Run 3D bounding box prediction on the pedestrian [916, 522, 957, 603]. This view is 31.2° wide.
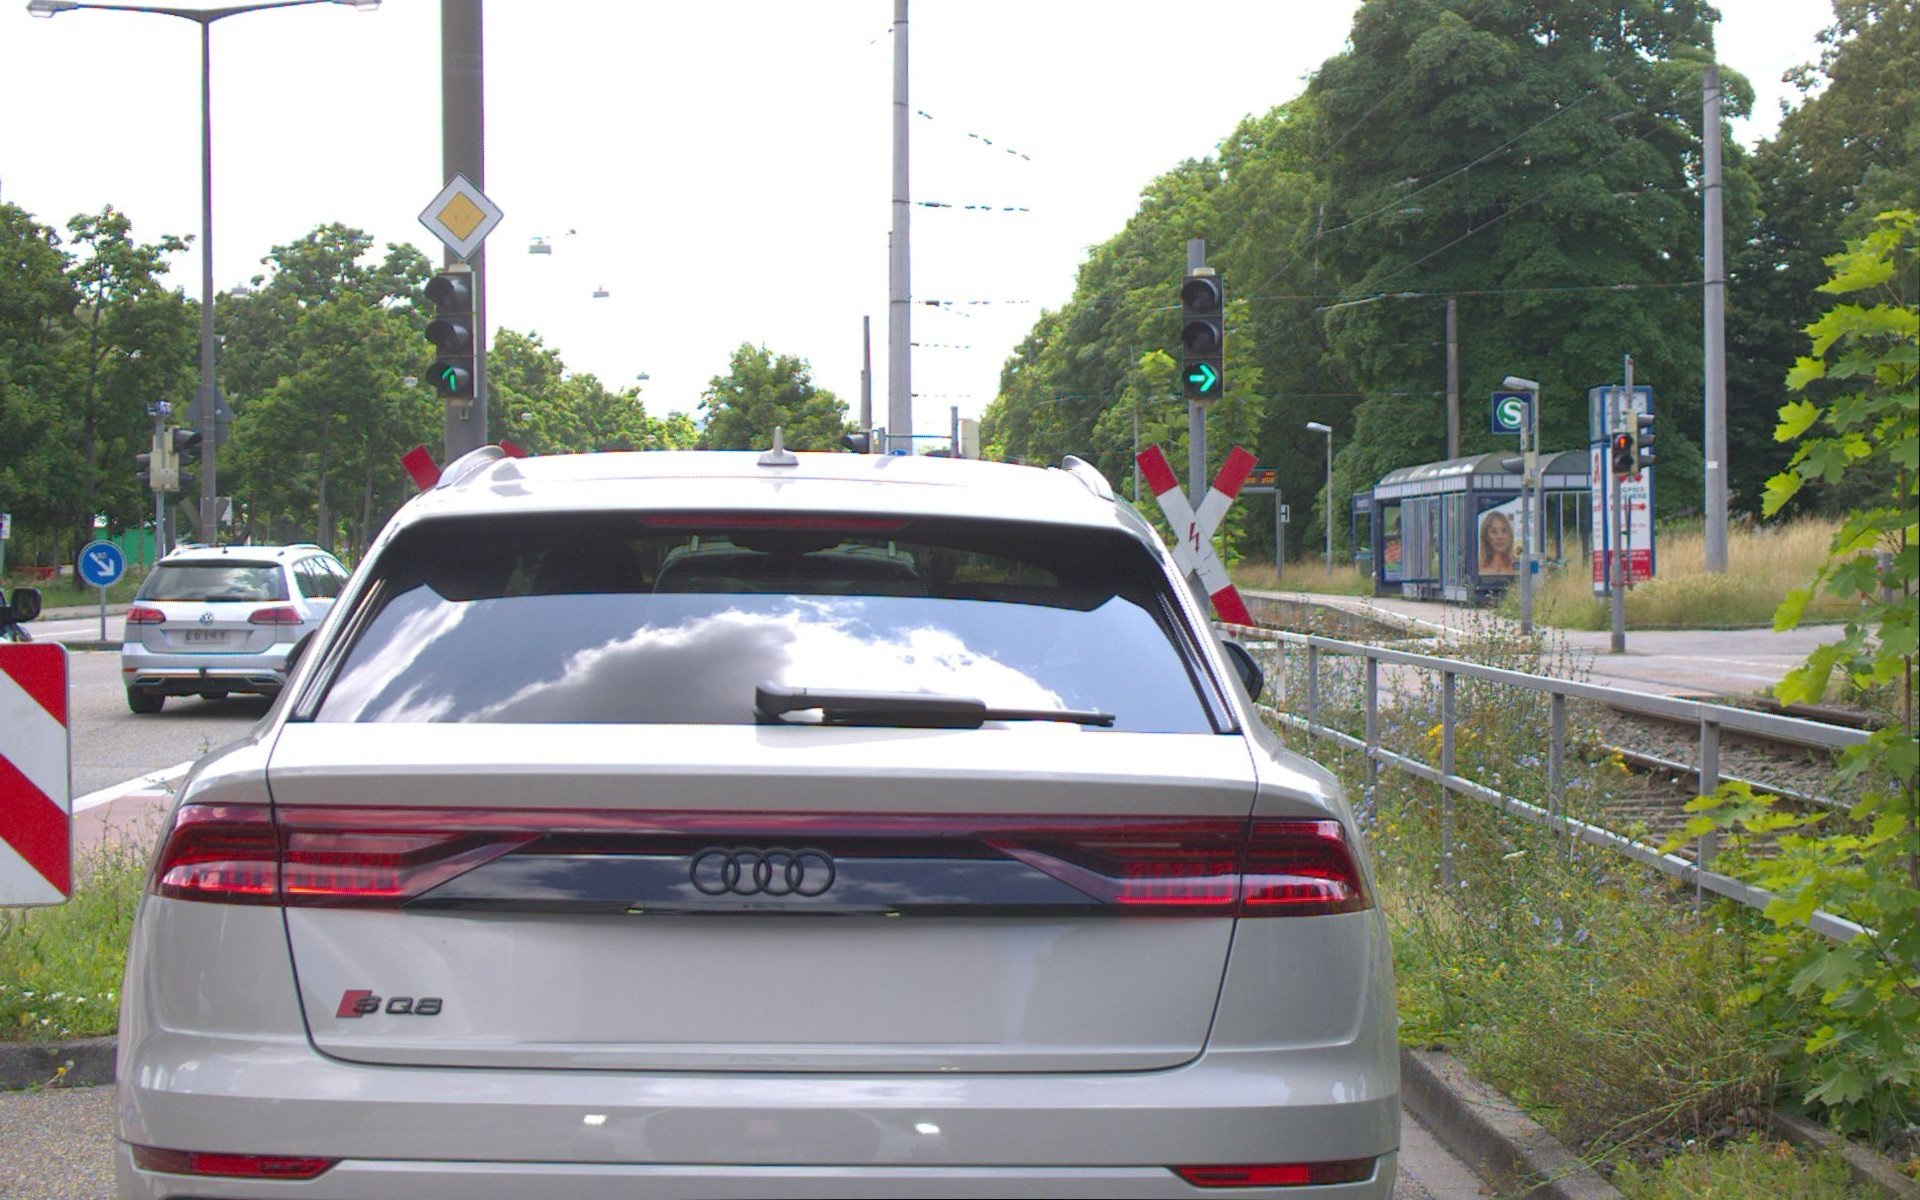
[{"bbox_3d":[-0.441,-0.708,64.368,0.653,1.508,0.718,-1,1,-10],"label":"pedestrian"}]

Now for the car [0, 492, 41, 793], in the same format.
[{"bbox_3d":[-6.482,0.251,19.276,1.759,1.771,3.909,1,1,-3],"label":"car"}]

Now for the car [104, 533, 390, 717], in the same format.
[{"bbox_3d":[-6.322,0.188,30.910,1.785,1.520,4.301,1,1,-2],"label":"car"}]

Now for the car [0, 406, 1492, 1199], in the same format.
[{"bbox_3d":[-0.324,0.573,6.835,1.981,1.678,4.574,1,1,-1],"label":"car"}]
